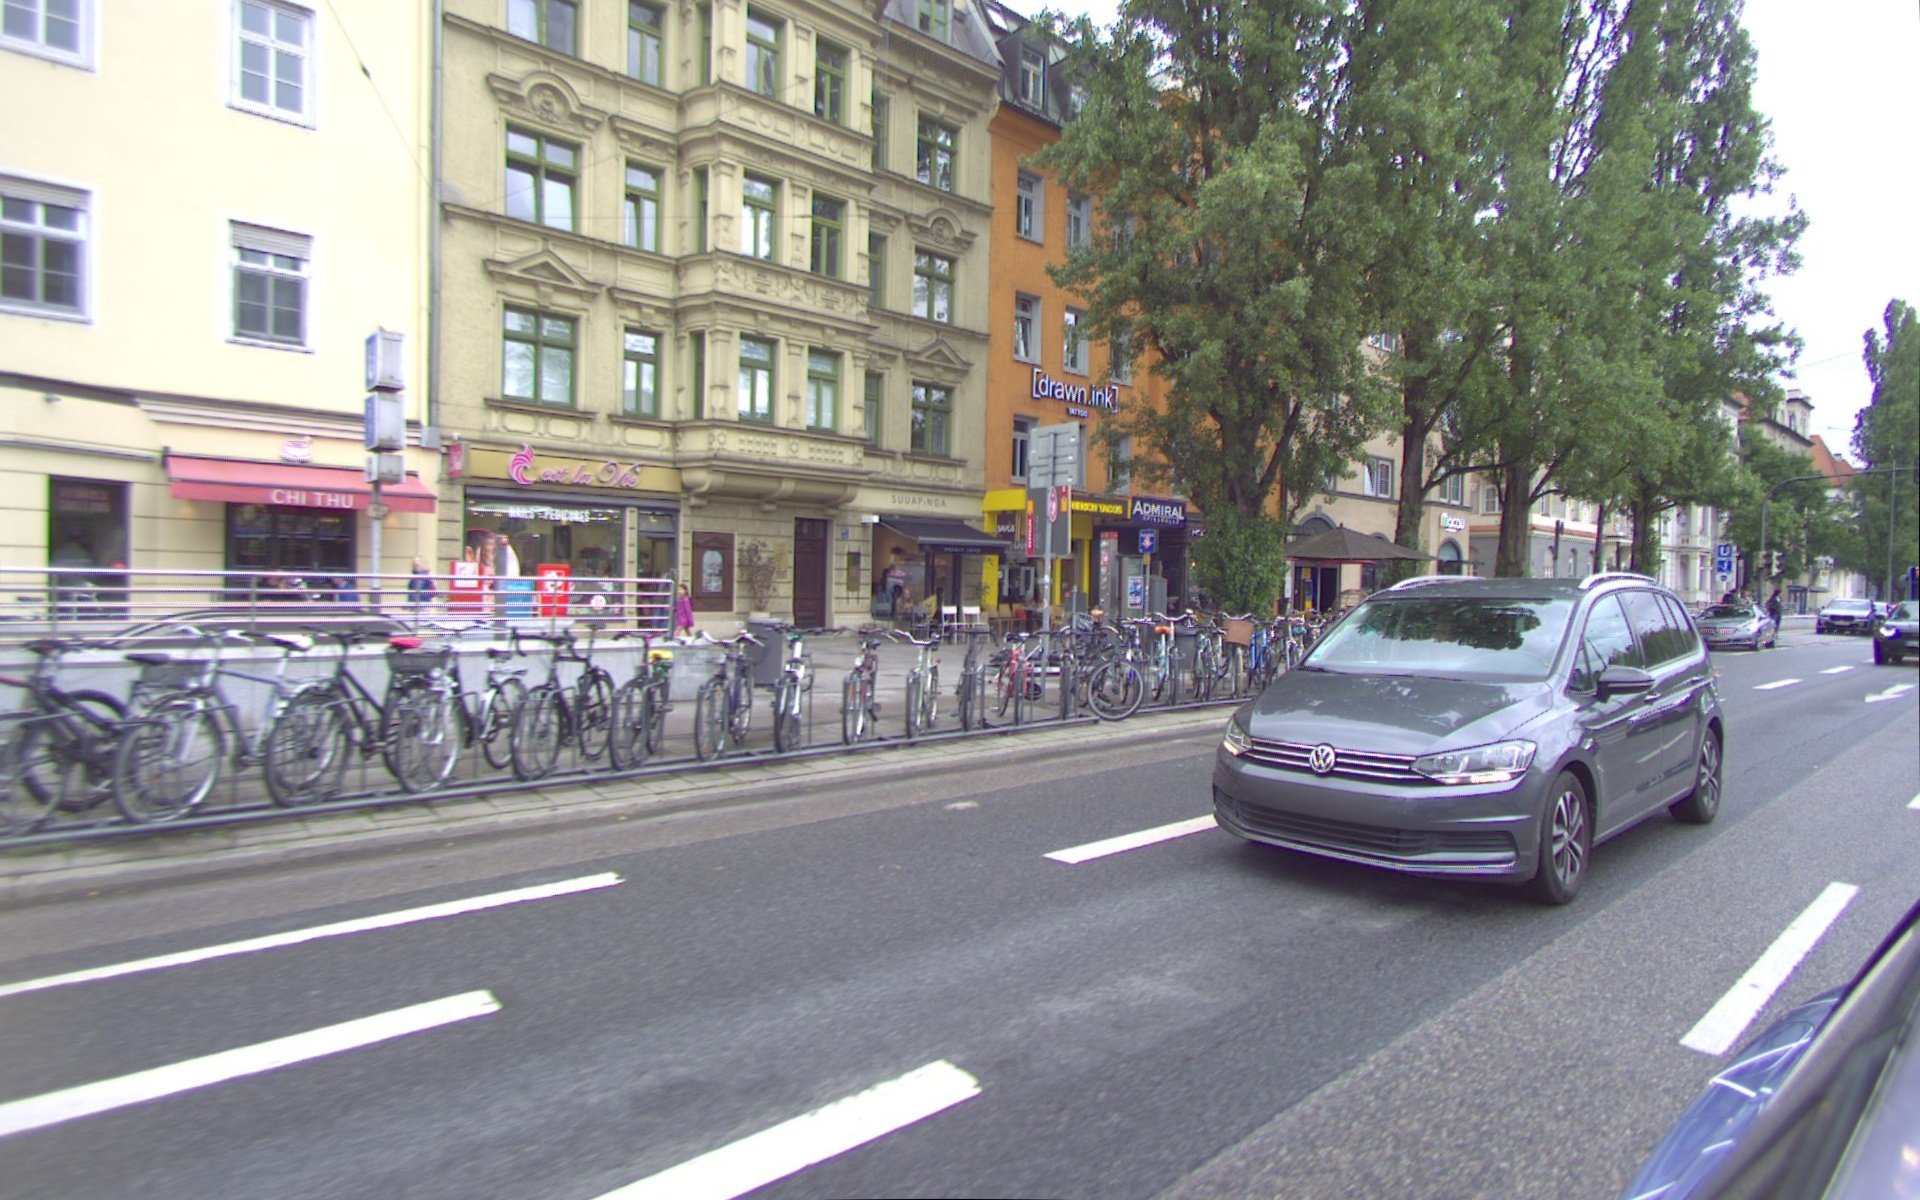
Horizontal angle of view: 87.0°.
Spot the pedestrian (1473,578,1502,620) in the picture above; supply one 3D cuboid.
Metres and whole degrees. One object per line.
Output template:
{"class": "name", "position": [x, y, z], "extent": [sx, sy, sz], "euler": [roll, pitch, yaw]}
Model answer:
{"class": "pedestrian", "position": [22.326, -0.052, 42.812], "extent": [0.999, 1.735, 0.747], "euler": [0, 1, -40]}

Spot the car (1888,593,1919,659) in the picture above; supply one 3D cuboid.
{"class": "car", "position": [23.693, 0.577, 24.195], "extent": [3.901, 1.523, 1.778], "euler": [0, -1, -41]}

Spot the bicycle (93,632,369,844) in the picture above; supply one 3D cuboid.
{"class": "bicycle", "position": [-4.469, 0.774, 6.374], "extent": [0.341, 1.008, 1.841], "euler": [1, 2, 3]}

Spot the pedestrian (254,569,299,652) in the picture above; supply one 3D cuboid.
{"class": "pedestrian", "position": [-11.073, 0.161, 16.388], "extent": [0.542, 1.305, 0.496], "euler": [0, 1, -40]}

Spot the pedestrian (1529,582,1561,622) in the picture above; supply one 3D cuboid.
{"class": "pedestrian", "position": [24.100, 0.067, 41.688], "extent": [0.808, 1.622, 0.849], "euler": [0, 1, -37]}

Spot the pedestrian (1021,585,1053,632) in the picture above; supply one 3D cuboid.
{"class": "pedestrian", "position": [2.105, 0.229, 27.624], "extent": [0.573, 1.233, 0.623], "euler": [0, 1, -41]}

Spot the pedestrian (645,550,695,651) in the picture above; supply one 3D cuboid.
{"class": "pedestrian", "position": [-5.159, -0.003, 18.023], "extent": [0.654, 1.761, 0.601], "euler": [0, 1, -40]}

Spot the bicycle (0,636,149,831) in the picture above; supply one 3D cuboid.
{"class": "bicycle", "position": [-5.488, 0.775, 5.625], "extent": [0.342, 1.008, 1.840], "euler": [1, 2, 6]}

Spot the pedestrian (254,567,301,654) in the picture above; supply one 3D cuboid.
{"class": "pedestrian", "position": [-10.583, 0.155, 15.687], "extent": [0.542, 1.305, 0.496], "euler": [0, 1, -40]}

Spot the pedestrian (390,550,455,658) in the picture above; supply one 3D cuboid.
{"class": "pedestrian", "position": [-8.561, 0.049, 16.105], "extent": [0.772, 1.653, 0.712], "euler": [0, 1, -40]}

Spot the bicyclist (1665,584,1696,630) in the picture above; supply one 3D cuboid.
{"class": "bicyclist", "position": [25.803, 0.242, 36.245], "extent": [0.923, 1.623, 0.681], "euler": [0, 1, -40]}

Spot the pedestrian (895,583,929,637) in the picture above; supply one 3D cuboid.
{"class": "pedestrian", "position": [-1.154, 0.233, 24.531], "extent": [0.573, 1.296, 0.584], "euler": [0, 1, -41]}

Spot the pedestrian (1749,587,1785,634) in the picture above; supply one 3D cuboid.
{"class": "pedestrian", "position": [29.122, 0.373, 36.532], "extent": [0.743, 1.658, 0.700], "euler": [1, 0, 7]}

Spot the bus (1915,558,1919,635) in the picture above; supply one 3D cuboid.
{"class": "bus", "position": [41.866, -0.127, 41.744], "extent": [9.299, 3.012, 2.635], "euler": [0, -1, -41]}

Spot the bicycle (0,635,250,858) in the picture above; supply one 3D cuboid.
{"class": "bicycle", "position": [-4.994, 0.774, 5.904], "extent": [0.341, 1.008, 1.841], "euler": [1, 2, 3]}

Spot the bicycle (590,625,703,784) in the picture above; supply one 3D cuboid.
{"class": "bicycle", "position": [-2.453, 0.761, 8.084], "extent": [0.341, 1.008, 1.843], "euler": [1, 2, -1]}

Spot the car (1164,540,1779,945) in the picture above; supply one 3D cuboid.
{"class": "car", "position": [3.453, 0.582, 6.356], "extent": [4.624, 1.668, 1.775], "euler": [0, 0, -40]}

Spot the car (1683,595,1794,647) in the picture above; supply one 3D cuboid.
{"class": "car", "position": [24.079, 0.594, 31.236], "extent": [4.452, 1.458, 1.996], "euler": [0, 2, -43]}

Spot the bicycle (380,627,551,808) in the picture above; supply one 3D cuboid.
{"class": "bicycle", "position": [-3.468, 0.762, 7.249], "extent": [0.341, 1.008, 1.843], "euler": [1, 2, -1]}

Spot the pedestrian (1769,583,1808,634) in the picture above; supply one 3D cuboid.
{"class": "pedestrian", "position": [30.246, 0.298, 36.950], "extent": [0.741, 1.824, 0.883], "euler": [1, 0, -30]}

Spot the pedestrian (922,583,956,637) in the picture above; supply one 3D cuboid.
{"class": "pedestrian", "position": [-0.520, 0.233, 25.057], "extent": [0.573, 1.296, 0.584], "euler": [0, 1, -41]}

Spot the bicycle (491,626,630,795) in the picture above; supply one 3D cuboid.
{"class": "bicycle", "position": [-2.961, 0.761, 7.660], "extent": [0.341, 1.008, 1.843], "euler": [1, 2, -1]}

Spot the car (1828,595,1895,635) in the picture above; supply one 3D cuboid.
{"class": "car", "position": [40.660, 0.631, 45.614], "extent": [4.424, 1.681, 1.735], "euler": [0, 1, -42]}

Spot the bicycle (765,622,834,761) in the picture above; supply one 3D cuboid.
{"class": "bicycle", "position": [-1.412, 0.761, 9.102], "extent": [0.341, 1.008, 1.843], "euler": [1, 2, -1]}

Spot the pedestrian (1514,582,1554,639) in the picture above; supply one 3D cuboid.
{"class": "pedestrian", "position": [16.382, 0.295, 28.899], "extent": [0.749, 1.582, 0.762], "euler": [1, 0, -39]}

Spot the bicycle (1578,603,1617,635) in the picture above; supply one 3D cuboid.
{"class": "bicycle", "position": [20.354, 0.601, 32.316], "extent": [1.624, 0.977, 0.590], "euler": [0, 1, -40]}

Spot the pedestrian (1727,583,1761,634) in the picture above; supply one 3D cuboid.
{"class": "pedestrian", "position": [28.295, 0.291, 36.534], "extent": [0.638, 1.803, 0.702], "euler": [1, 0, -7]}

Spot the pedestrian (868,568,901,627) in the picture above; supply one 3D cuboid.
{"class": "pedestrian", "position": [-1.960, -0.072, 26.161], "extent": [0.572, 1.493, 0.627], "euler": [0, 1, -38]}

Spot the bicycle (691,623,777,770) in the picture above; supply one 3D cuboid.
{"class": "bicycle", "position": [-1.897, 0.761, 8.678], "extent": [0.341, 1.008, 1.843], "euler": [1, 2, -1]}

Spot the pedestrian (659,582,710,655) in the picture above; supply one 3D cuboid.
{"class": "pedestrian", "position": [-4.783, 0.306, 17.588], "extent": [0.654, 1.237, 0.601], "euler": [0, 1, -40]}

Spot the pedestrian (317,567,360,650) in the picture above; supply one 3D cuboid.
{"class": "pedestrian", "position": [-10.311, 0.136, 16.790], "extent": [0.542, 1.349, 0.496], "euler": [0, 1, -40]}

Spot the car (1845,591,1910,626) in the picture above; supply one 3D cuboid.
{"class": "car", "position": [44.283, 0.394, 48.815], "extent": [3.895, 1.596, 1.730], "euler": [0, 2, -39]}

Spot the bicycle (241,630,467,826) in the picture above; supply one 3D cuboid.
{"class": "bicycle", "position": [-3.975, 0.774, 6.803], "extent": [0.341, 1.008, 1.841], "euler": [1, 2, 3]}
